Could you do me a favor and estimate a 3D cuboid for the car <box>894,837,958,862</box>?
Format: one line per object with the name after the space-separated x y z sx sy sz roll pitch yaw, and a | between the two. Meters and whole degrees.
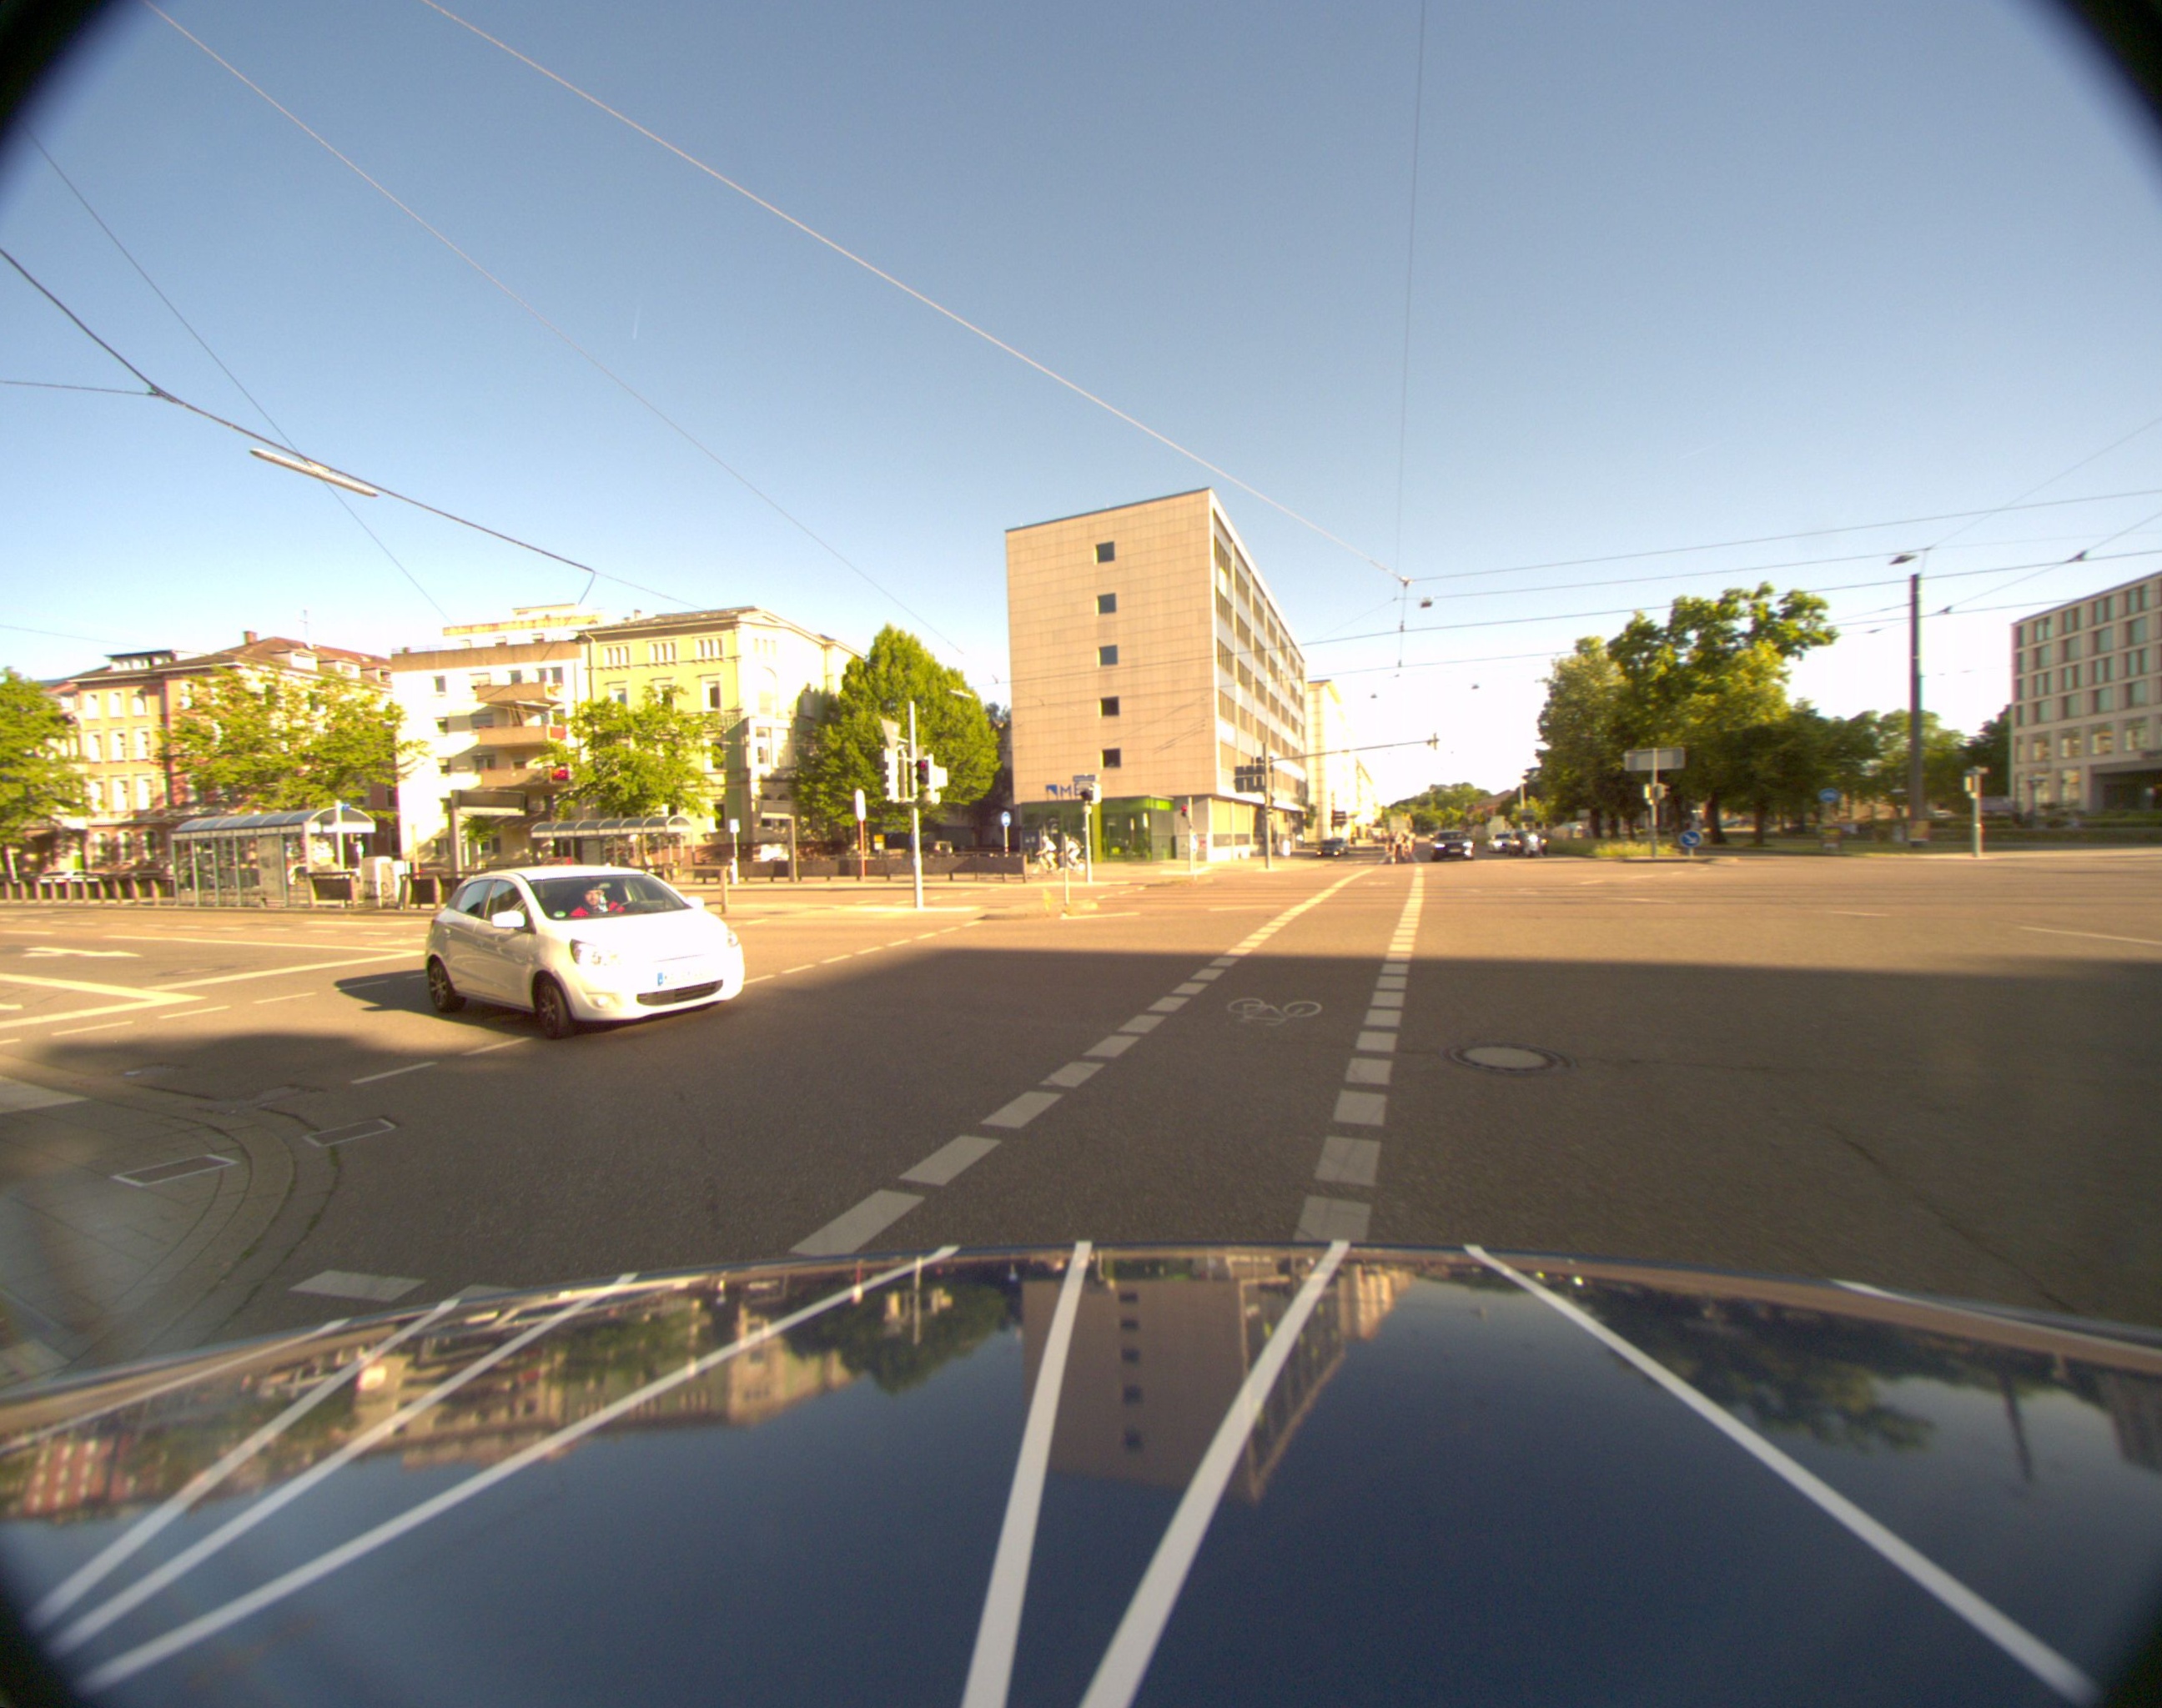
-10.774 -0.295 52.951 3.991 1.576 1.742 -1 3 19 | car

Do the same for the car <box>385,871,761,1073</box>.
-5.235 0.981 7.749 3.754 1.456 1.682 0 4 32 | car

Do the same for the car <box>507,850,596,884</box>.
-29.886 0.704 43.031 1.738 1.576 4.000 -1 3 9 | car

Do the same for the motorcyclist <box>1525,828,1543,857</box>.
23.347 -0.598 39.169 0.606 1.438 0.737 -1 2 15 | motorcyclist

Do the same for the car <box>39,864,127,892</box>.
-69.129 1.653 52.726 1.742 1.576 3.991 -3 3 -21 | car

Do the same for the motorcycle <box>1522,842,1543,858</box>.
23.411 -0.217 39.432 0.623 0.791 1.310 -1 1 15 | motorcycle

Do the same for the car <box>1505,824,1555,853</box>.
26.281 -0.905 44.628 1.995 1.564 4.556 -1 1 24 | car

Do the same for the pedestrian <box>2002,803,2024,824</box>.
69.908 -3.005 56.981 0.783 1.517 0.763 -1 2 24 | pedestrian

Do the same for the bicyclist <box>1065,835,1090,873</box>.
-0.155 -0.019 34.672 0.947 1.682 0.762 -2 5 -20 | bicyclist

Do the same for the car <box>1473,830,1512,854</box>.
28.709 -0.896 53.090 1.995 1.565 4.555 -1 1 24 | car

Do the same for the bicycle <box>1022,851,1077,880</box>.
-1.348 0.487 32.789 2.186 1.062 0.881 -3 5 -32 | bicycle

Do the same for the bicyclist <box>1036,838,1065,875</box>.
-1.324 0.101 32.760 0.908 1.499 0.886 -4 5 -33 | bicyclist

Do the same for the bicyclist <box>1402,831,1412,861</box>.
17.328 -0.449 40.367 0.453 1.567 0.536 -1 2 23 | bicyclist

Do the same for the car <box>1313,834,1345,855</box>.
20.197 -0.828 61.754 1.995 1.565 4.555 -1 1 24 | car

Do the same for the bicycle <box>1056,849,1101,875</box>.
-0.108 0.359 34.768 1.909 1.062 0.753 -2 4 -20 | bicycle

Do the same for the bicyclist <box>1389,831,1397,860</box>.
16.619 -0.452 40.509 0.357 1.567 0.536 -1 2 23 | bicyclist

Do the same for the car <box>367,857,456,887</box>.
-39.903 1.041 45.311 3.994 1.576 1.741 -1 3 10 | car

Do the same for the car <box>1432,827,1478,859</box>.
20.089 -0.632 40.925 1.995 1.564 4.556 -1 1 24 | car

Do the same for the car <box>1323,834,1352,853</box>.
22.758 -0.983 67.263 1.995 1.565 4.555 -1 1 24 | car

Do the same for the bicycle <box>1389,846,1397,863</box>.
16.634 0.034 40.526 0.351 0.869 1.387 -1 1 23 | bicycle

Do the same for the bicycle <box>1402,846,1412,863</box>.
17.365 0.016 40.441 0.451 0.869 1.387 -1 1 23 | bicycle
